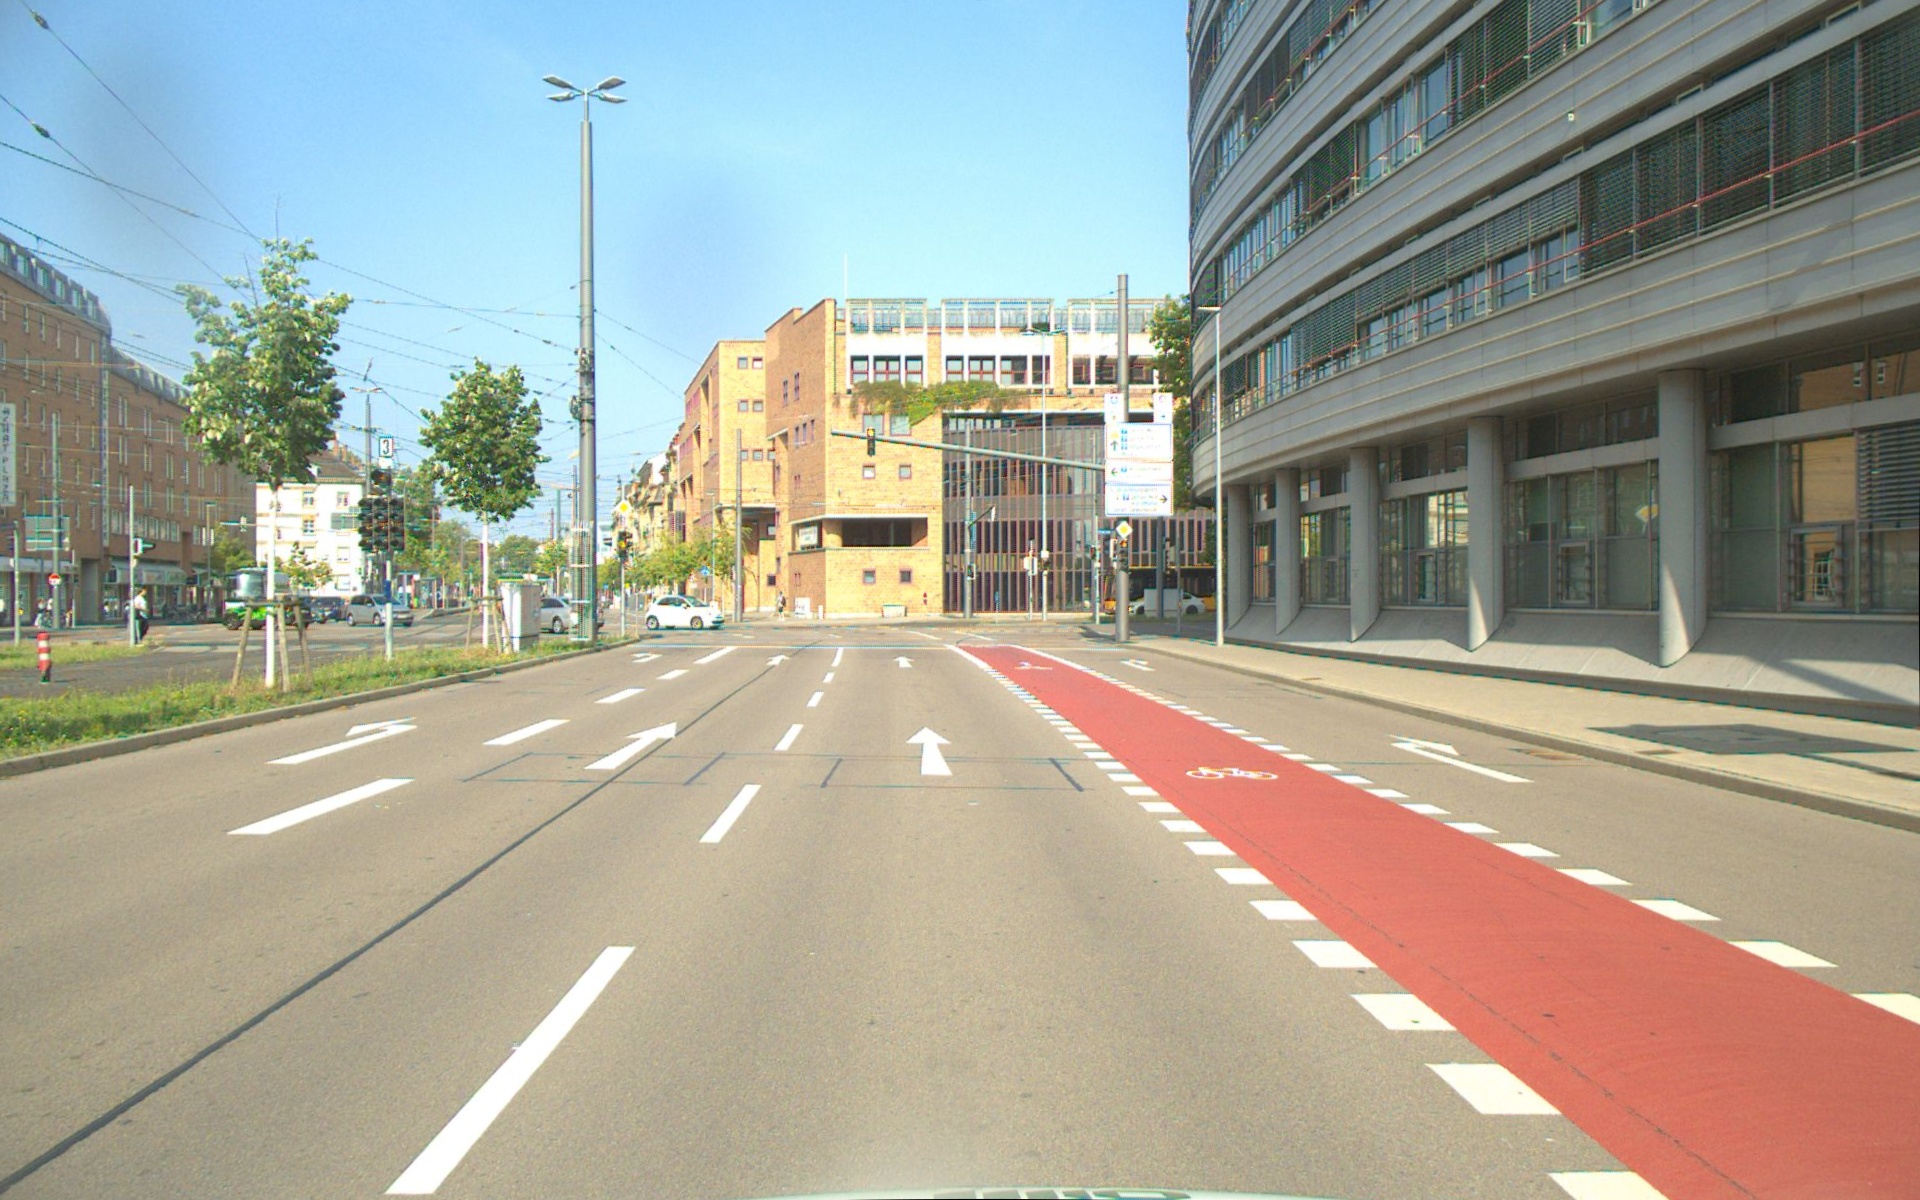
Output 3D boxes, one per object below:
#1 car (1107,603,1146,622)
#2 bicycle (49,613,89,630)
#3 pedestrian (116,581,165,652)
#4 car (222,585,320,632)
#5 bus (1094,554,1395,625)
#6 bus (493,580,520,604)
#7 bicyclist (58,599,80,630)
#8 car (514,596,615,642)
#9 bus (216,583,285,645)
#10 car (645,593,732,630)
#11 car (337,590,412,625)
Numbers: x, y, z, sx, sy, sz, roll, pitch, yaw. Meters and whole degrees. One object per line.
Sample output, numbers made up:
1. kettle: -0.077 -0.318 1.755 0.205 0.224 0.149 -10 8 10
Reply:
1. car: 8.984 0.682 89.182 1.913 0.975 1.093 1 -2 -4
2. bicycle: -50.179 1.207 93.171 1.930 0.987 0.417 0 -2 -19
3. pedestrian: -23.962 0.474 48.394 1.136 2.049 0.773 0 -2 -14
4. car: -31.253 0.421 75.052 3.906 2.049 1.999 -1 -2 24
5. bus: 16.374 -0.620 94.892 17.307 3.877 2.855 0 -1 -14
6. bus: -40.814 -0.710 148.850 1.965 2.049 3.975 0 0 -21
7. bicyclist: -50.205 0.838 93.172 0.971 1.725 0.667 0 -2 -19
8. car: -15.889 0.759 66.400 3.805 1.786 1.707 -1 -1 30
9. bus: -48.247 1.066 112.779 2.701 3.990 12.163 0 -1 -16
10. car: -11.925 0.525 72.781 3.365 1.569 1.735 -1 -1 21
11. car: -29.345 0.355 82.843 4.314 1.663 1.680 1 2 42
